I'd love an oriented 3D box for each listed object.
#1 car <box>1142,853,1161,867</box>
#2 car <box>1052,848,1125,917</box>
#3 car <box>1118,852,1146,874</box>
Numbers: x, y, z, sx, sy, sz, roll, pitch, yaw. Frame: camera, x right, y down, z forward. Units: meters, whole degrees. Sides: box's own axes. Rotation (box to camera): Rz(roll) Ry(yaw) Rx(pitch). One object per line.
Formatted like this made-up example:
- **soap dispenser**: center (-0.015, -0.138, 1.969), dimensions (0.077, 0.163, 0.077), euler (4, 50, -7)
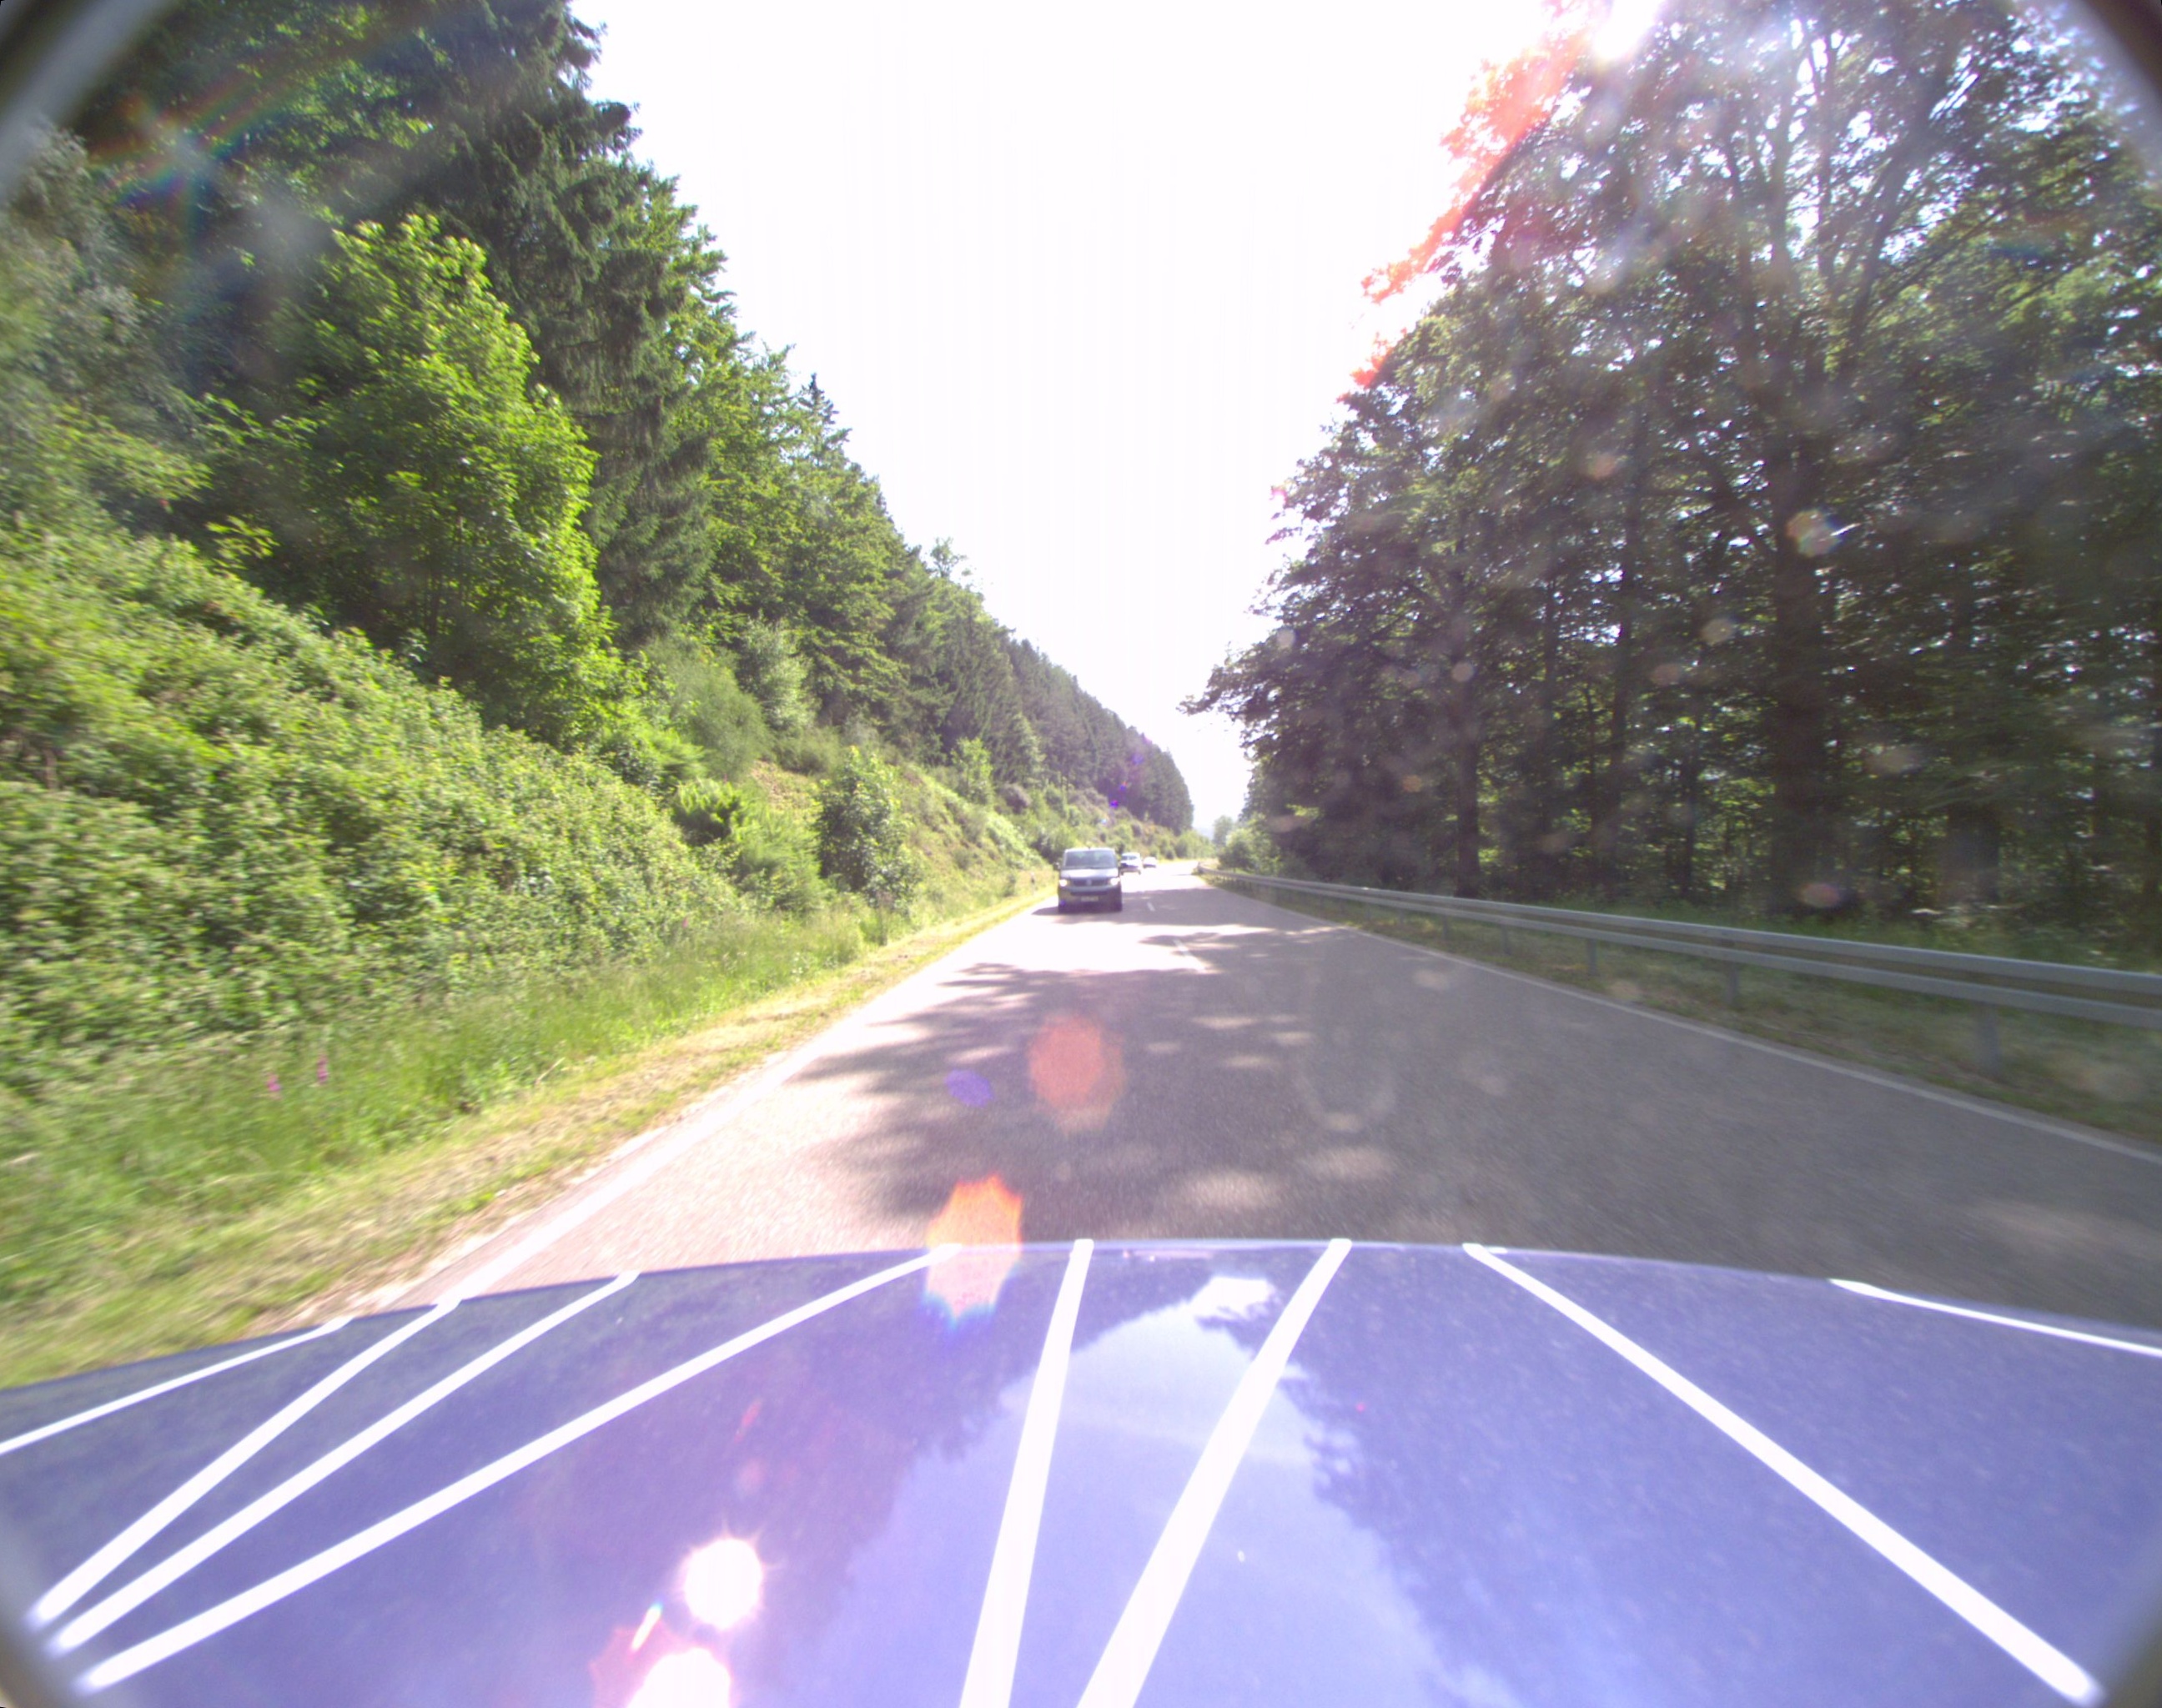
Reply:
- **car**: center (9.134, 0.786, 98.318), dimensions (1.997, 1.718, 4.003), euler (-1, 0, 10)
- **car**: center (0.347, 0.806, 23.658), dimensions (1.990, 1.899, 4.761), euler (-2, 0, 3)
- **car**: center (4.552, 0.780, 67.099), dimensions (2.136, 1.824, 4.725), euler (-1, 0, 7)
